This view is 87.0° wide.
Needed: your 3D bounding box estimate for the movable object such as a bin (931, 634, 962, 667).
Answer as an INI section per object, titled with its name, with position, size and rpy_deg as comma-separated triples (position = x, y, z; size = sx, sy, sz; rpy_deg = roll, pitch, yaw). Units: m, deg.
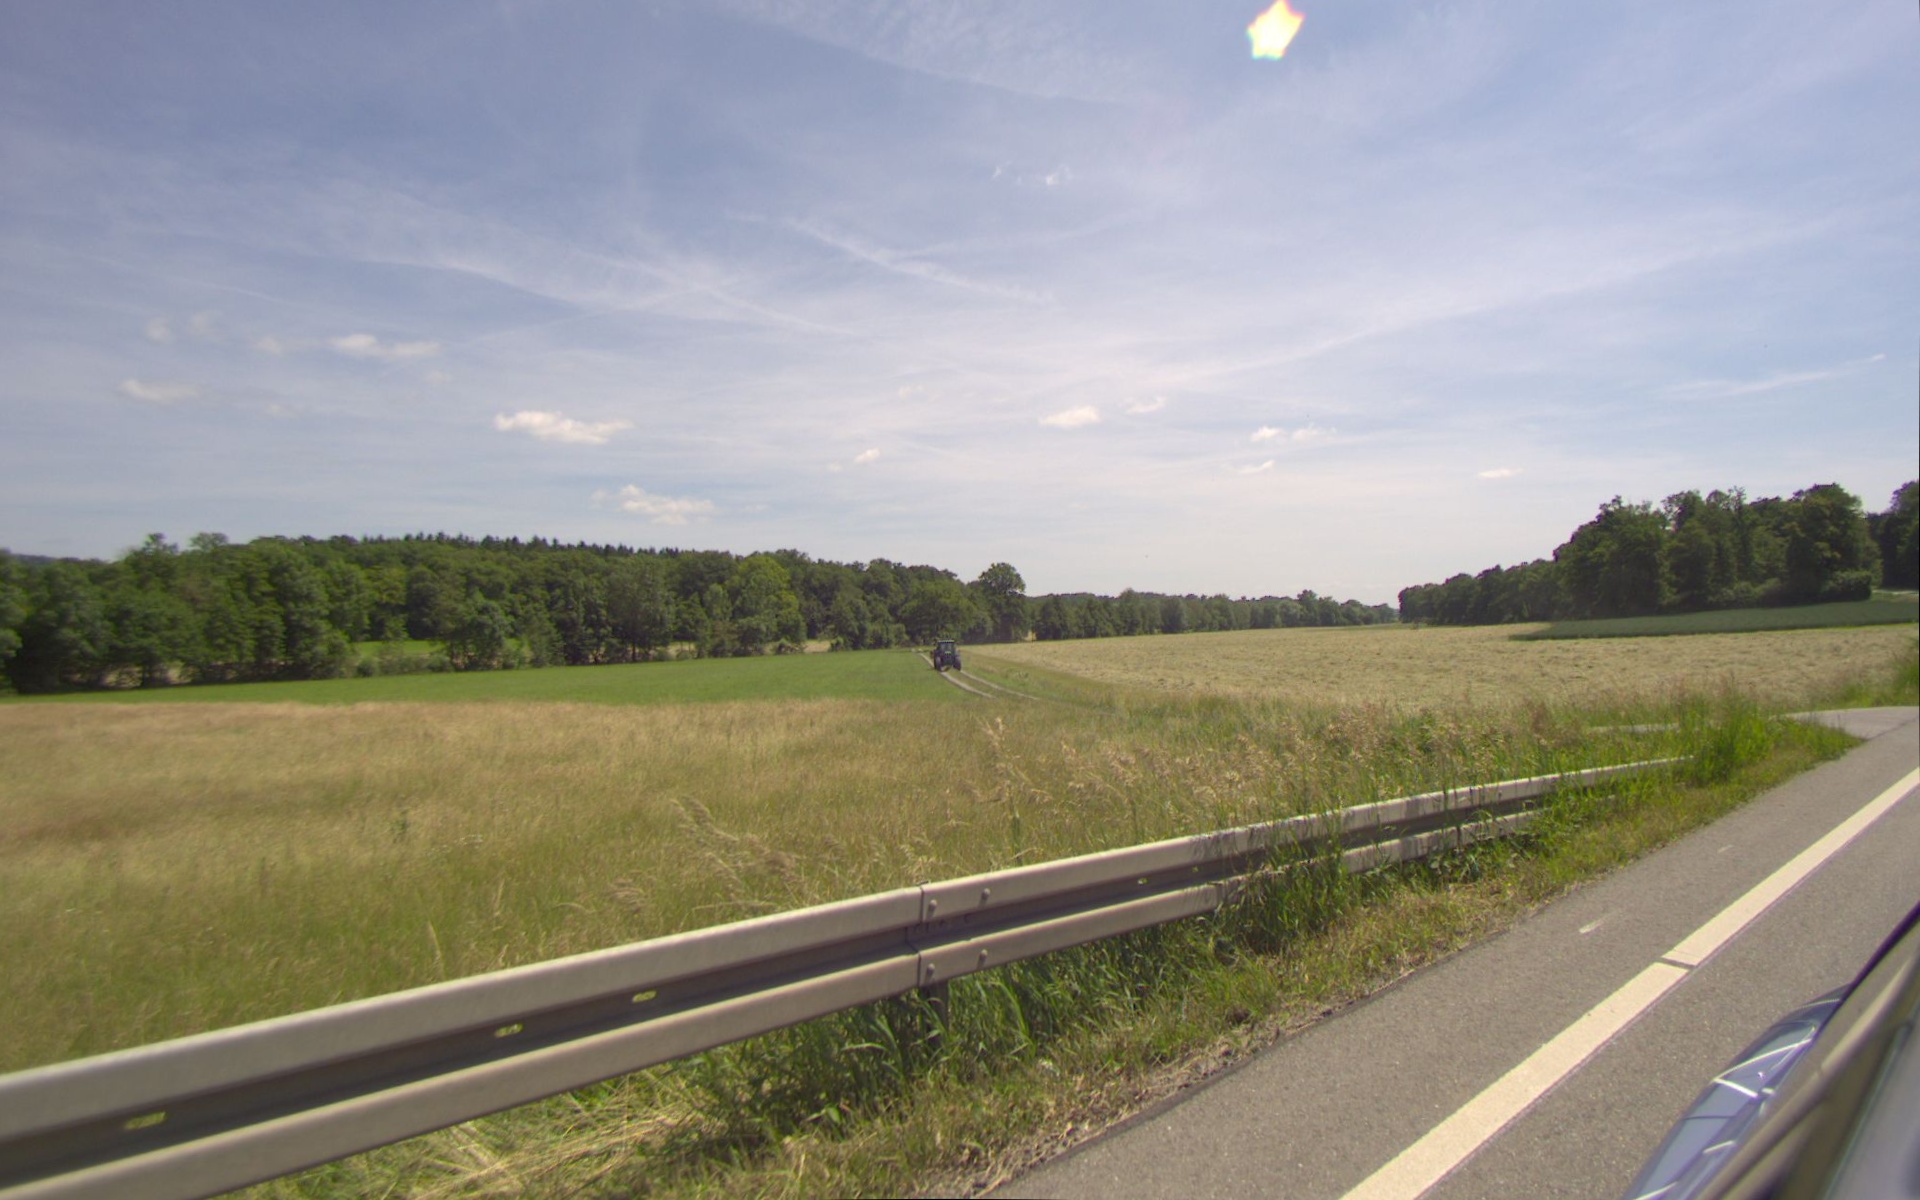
[movable object such as a bin]
position = -1.301, 4.643, 94.393
size = 1.913, 2.907, 6.234
rpy_deg = -1, -2, -10
